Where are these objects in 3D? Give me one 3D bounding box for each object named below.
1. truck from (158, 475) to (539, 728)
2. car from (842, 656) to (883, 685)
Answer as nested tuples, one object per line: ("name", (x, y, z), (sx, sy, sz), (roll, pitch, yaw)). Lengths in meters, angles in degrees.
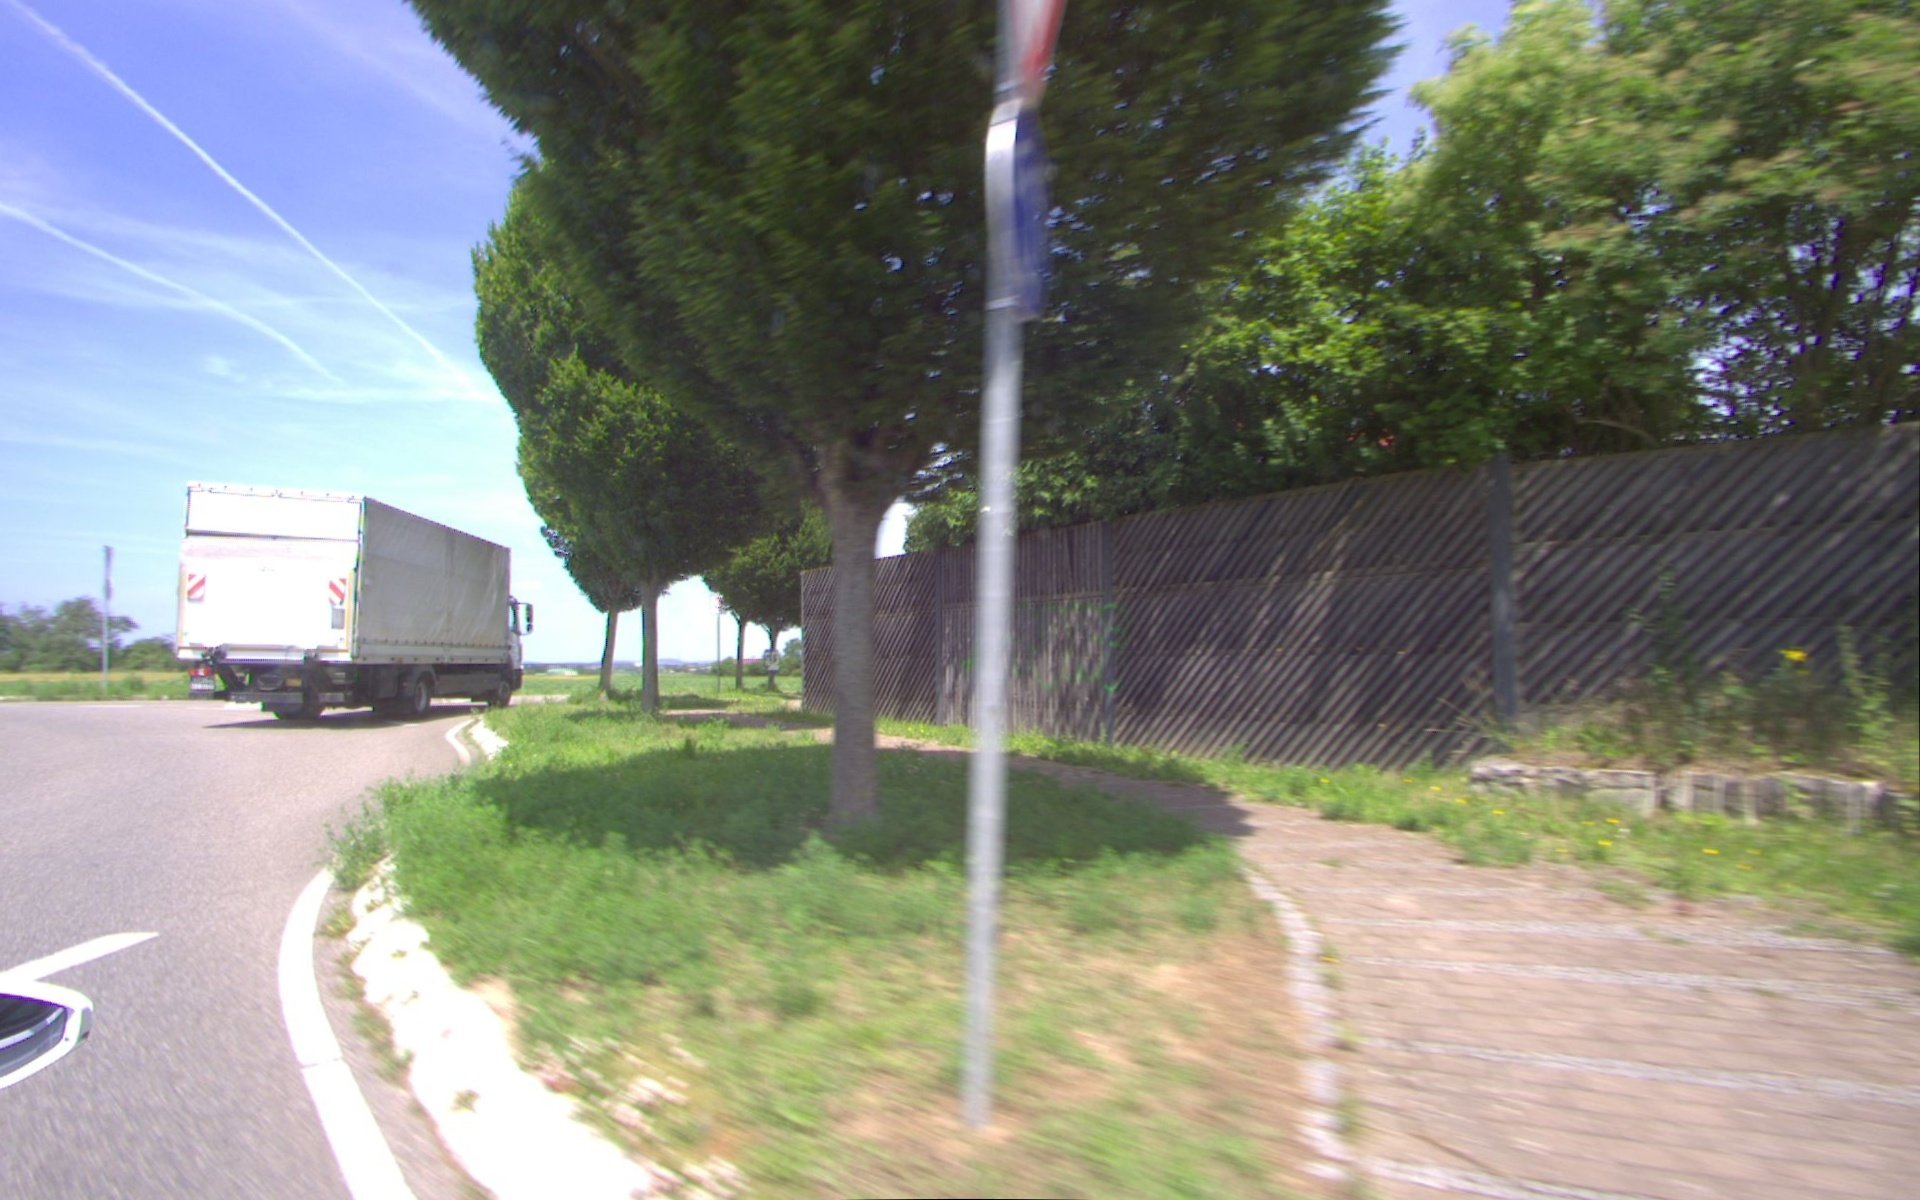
("truck", (-11.152, 0.280, 19.791), (2.723, 3.716, 9.385), (2, -3, -8))
("car", (-6.422, 4.659, 66.505), (1.961, 1.816, 4.003), (0, -3, 6))
